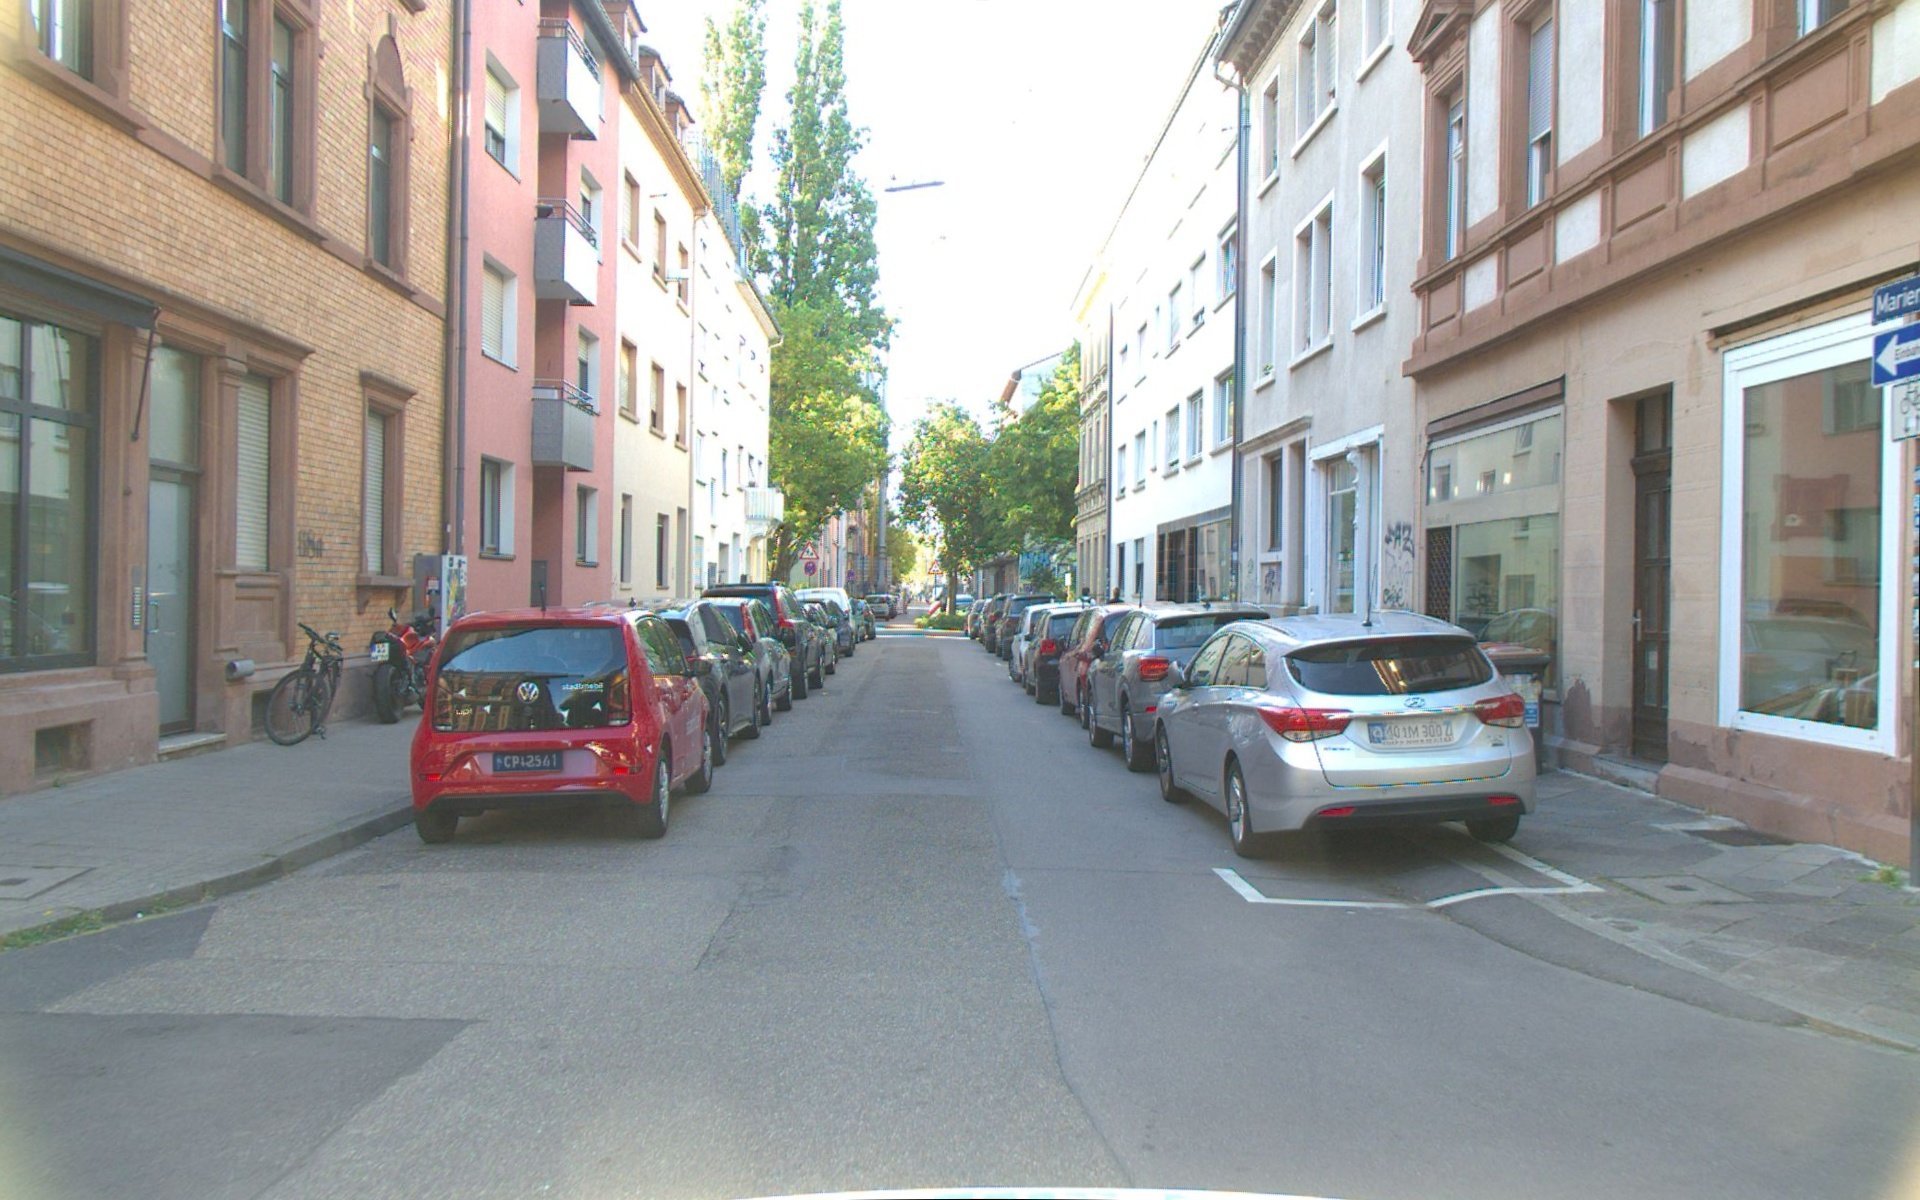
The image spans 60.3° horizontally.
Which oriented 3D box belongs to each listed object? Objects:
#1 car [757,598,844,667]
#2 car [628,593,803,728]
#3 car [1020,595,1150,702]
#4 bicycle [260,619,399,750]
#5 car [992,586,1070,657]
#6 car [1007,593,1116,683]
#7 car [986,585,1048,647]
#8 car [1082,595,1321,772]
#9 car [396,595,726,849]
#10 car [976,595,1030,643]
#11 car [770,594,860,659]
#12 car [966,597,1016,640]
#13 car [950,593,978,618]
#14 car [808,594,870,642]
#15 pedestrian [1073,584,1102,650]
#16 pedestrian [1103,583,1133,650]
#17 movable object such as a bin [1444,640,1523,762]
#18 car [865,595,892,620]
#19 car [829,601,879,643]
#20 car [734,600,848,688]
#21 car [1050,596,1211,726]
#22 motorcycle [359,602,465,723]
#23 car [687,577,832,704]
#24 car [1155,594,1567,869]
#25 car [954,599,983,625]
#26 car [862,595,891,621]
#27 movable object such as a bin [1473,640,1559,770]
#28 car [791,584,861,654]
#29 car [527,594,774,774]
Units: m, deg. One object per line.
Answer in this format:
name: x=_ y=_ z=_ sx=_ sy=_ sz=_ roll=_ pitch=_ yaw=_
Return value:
car: x=-3.542 y=0.684 z=37.253 sx=1.639 sy=1.412 sz=4.180 roll=-1 pitch=0 yaw=-2
car: x=-3.079 y=0.705 z=21.528 sx=1.622 sy=1.548 sz=3.944 roll=-1 pitch=0 yaw=0
car: x=1.930 y=0.713 z=26.560 sx=1.642 sy=1.533 sz=3.936 roll=-1 pitch=0 yaw=-2
bicycle: x=-5.909 y=0.762 z=15.610 sx=0.522 sy=1.092 sz=1.891 roll=5 pitch=0 yaw=-1
car: x=1.814 y=0.531 z=43.387 sx=1.642 sy=1.655 sz=4.249 roll=-3 pitch=0 yaw=-2
car: x=1.847 y=0.659 z=31.108 sx=1.642 sy=1.533 sz=3.936 roll=-1 pitch=0 yaw=-2
car: x=1.628 y=0.472 z=48.345 sx=1.641 sy=1.711 sz=4.094 roll=-1 pitch=-1 yaw=0
car: x=2.330 y=0.746 z=16.920 sx=1.709 sy=1.533 sz=4.019 roll=-1 pitch=0 yaw=-2
car: x=-2.705 y=0.744 z=11.979 sx=1.595 sy=1.507 sz=3.599 roll=-1 pitch=0 yaw=-2
car: x=1.461 y=0.633 z=57.955 sx=1.642 sy=1.588 sz=3.795 roll=-1 pitch=0 yaw=-2
car: x=-3.598 y=0.629 z=41.645 sx=1.638 sy=1.512 sz=3.993 roll=-1 pitch=0 yaw=4
car: x=1.151 y=0.670 z=62.851 sx=1.642 sy=1.513 sz=4.093 roll=-1 pitch=0 yaw=-2
car: x=0.234 y=0.347 z=108.252 sx=1.642 sy=1.513 sz=3.636 roll=-1 pitch=0 yaw=-2
car: x=-3.986 y=0.577 z=55.045 sx=1.635 sy=1.495 sz=3.821 roll=-1 pitch=0 yaw=2
pedestrian: x=3.272 y=0.436 z=42.437 sx=0.672 sy=1.689 sz=0.717 roll=0 pitch=0 yaw=-2
pedestrian: x=4.055 y=0.419 z=42.494 sx=0.672 sy=1.689 sz=0.717 roll=0 pitch=0 yaw=-2
movable object such as a bin: x=4.714 y=0.901 z=14.922 sx=0.503 sy=1.058 sz=0.594 roll=-1 pitch=0 yaw=-1
car: x=-5.220 y=0.491 z=105.910 sx=1.642 sy=1.513 sz=4.093 roll=-1 pitch=0 yaw=-2
car: x=-3.786 y=0.771 z=59.569 sx=1.636 sy=1.385 sz=4.048 roll=-1 pitch=0 yaw=-2
car: x=-3.223 y=0.796 z=32.230 sx=1.708 sy=1.533 sz=4.346 roll=-1 pitch=0 yaw=0
car: x=2.192 y=0.732 z=22.228 sx=1.566 sy=1.533 sz=4.183 roll=-1 pitch=0 yaw=-2
motorcycle: x=-5.943 y=0.648 z=18.029 sx=0.522 sy=1.227 sz=1.908 roll=1 pitch=0 yaw=-1
car: x=-3.160 y=0.589 z=26.919 sx=1.708 sy=1.842 sz=4.672 roll=-1 pitch=0 yaw=0
car: x=2.571 y=0.747 z=11.708 sx=1.709 sy=1.533 sz=4.356 roll=-1 pitch=0 yaw=-2
car: x=0.520 y=0.707 z=101.855 sx=1.642 sy=1.513 sz=3.636 roll=-1 pitch=0 yaw=-2
car: x=-5.055 y=0.484 z=100.465 sx=1.642 sy=1.513 sz=4.093 roll=-1 pitch=0 yaw=-2
movable object such as a bin: x=4.761 y=0.889 z=14.178 sx=0.503 sy=1.058 sz=0.619 roll=-1 pitch=0 yaw=-1
car: x=-3.700 y=0.495 z=46.279 sx=1.729 sy=1.816 sz=4.037 roll=-1 pitch=0 yaw=-2
car: x=-2.975 y=0.736 z=16.707 sx=1.660 sy=1.548 sz=4.096 roll=-1 pitch=0 yaw=0
